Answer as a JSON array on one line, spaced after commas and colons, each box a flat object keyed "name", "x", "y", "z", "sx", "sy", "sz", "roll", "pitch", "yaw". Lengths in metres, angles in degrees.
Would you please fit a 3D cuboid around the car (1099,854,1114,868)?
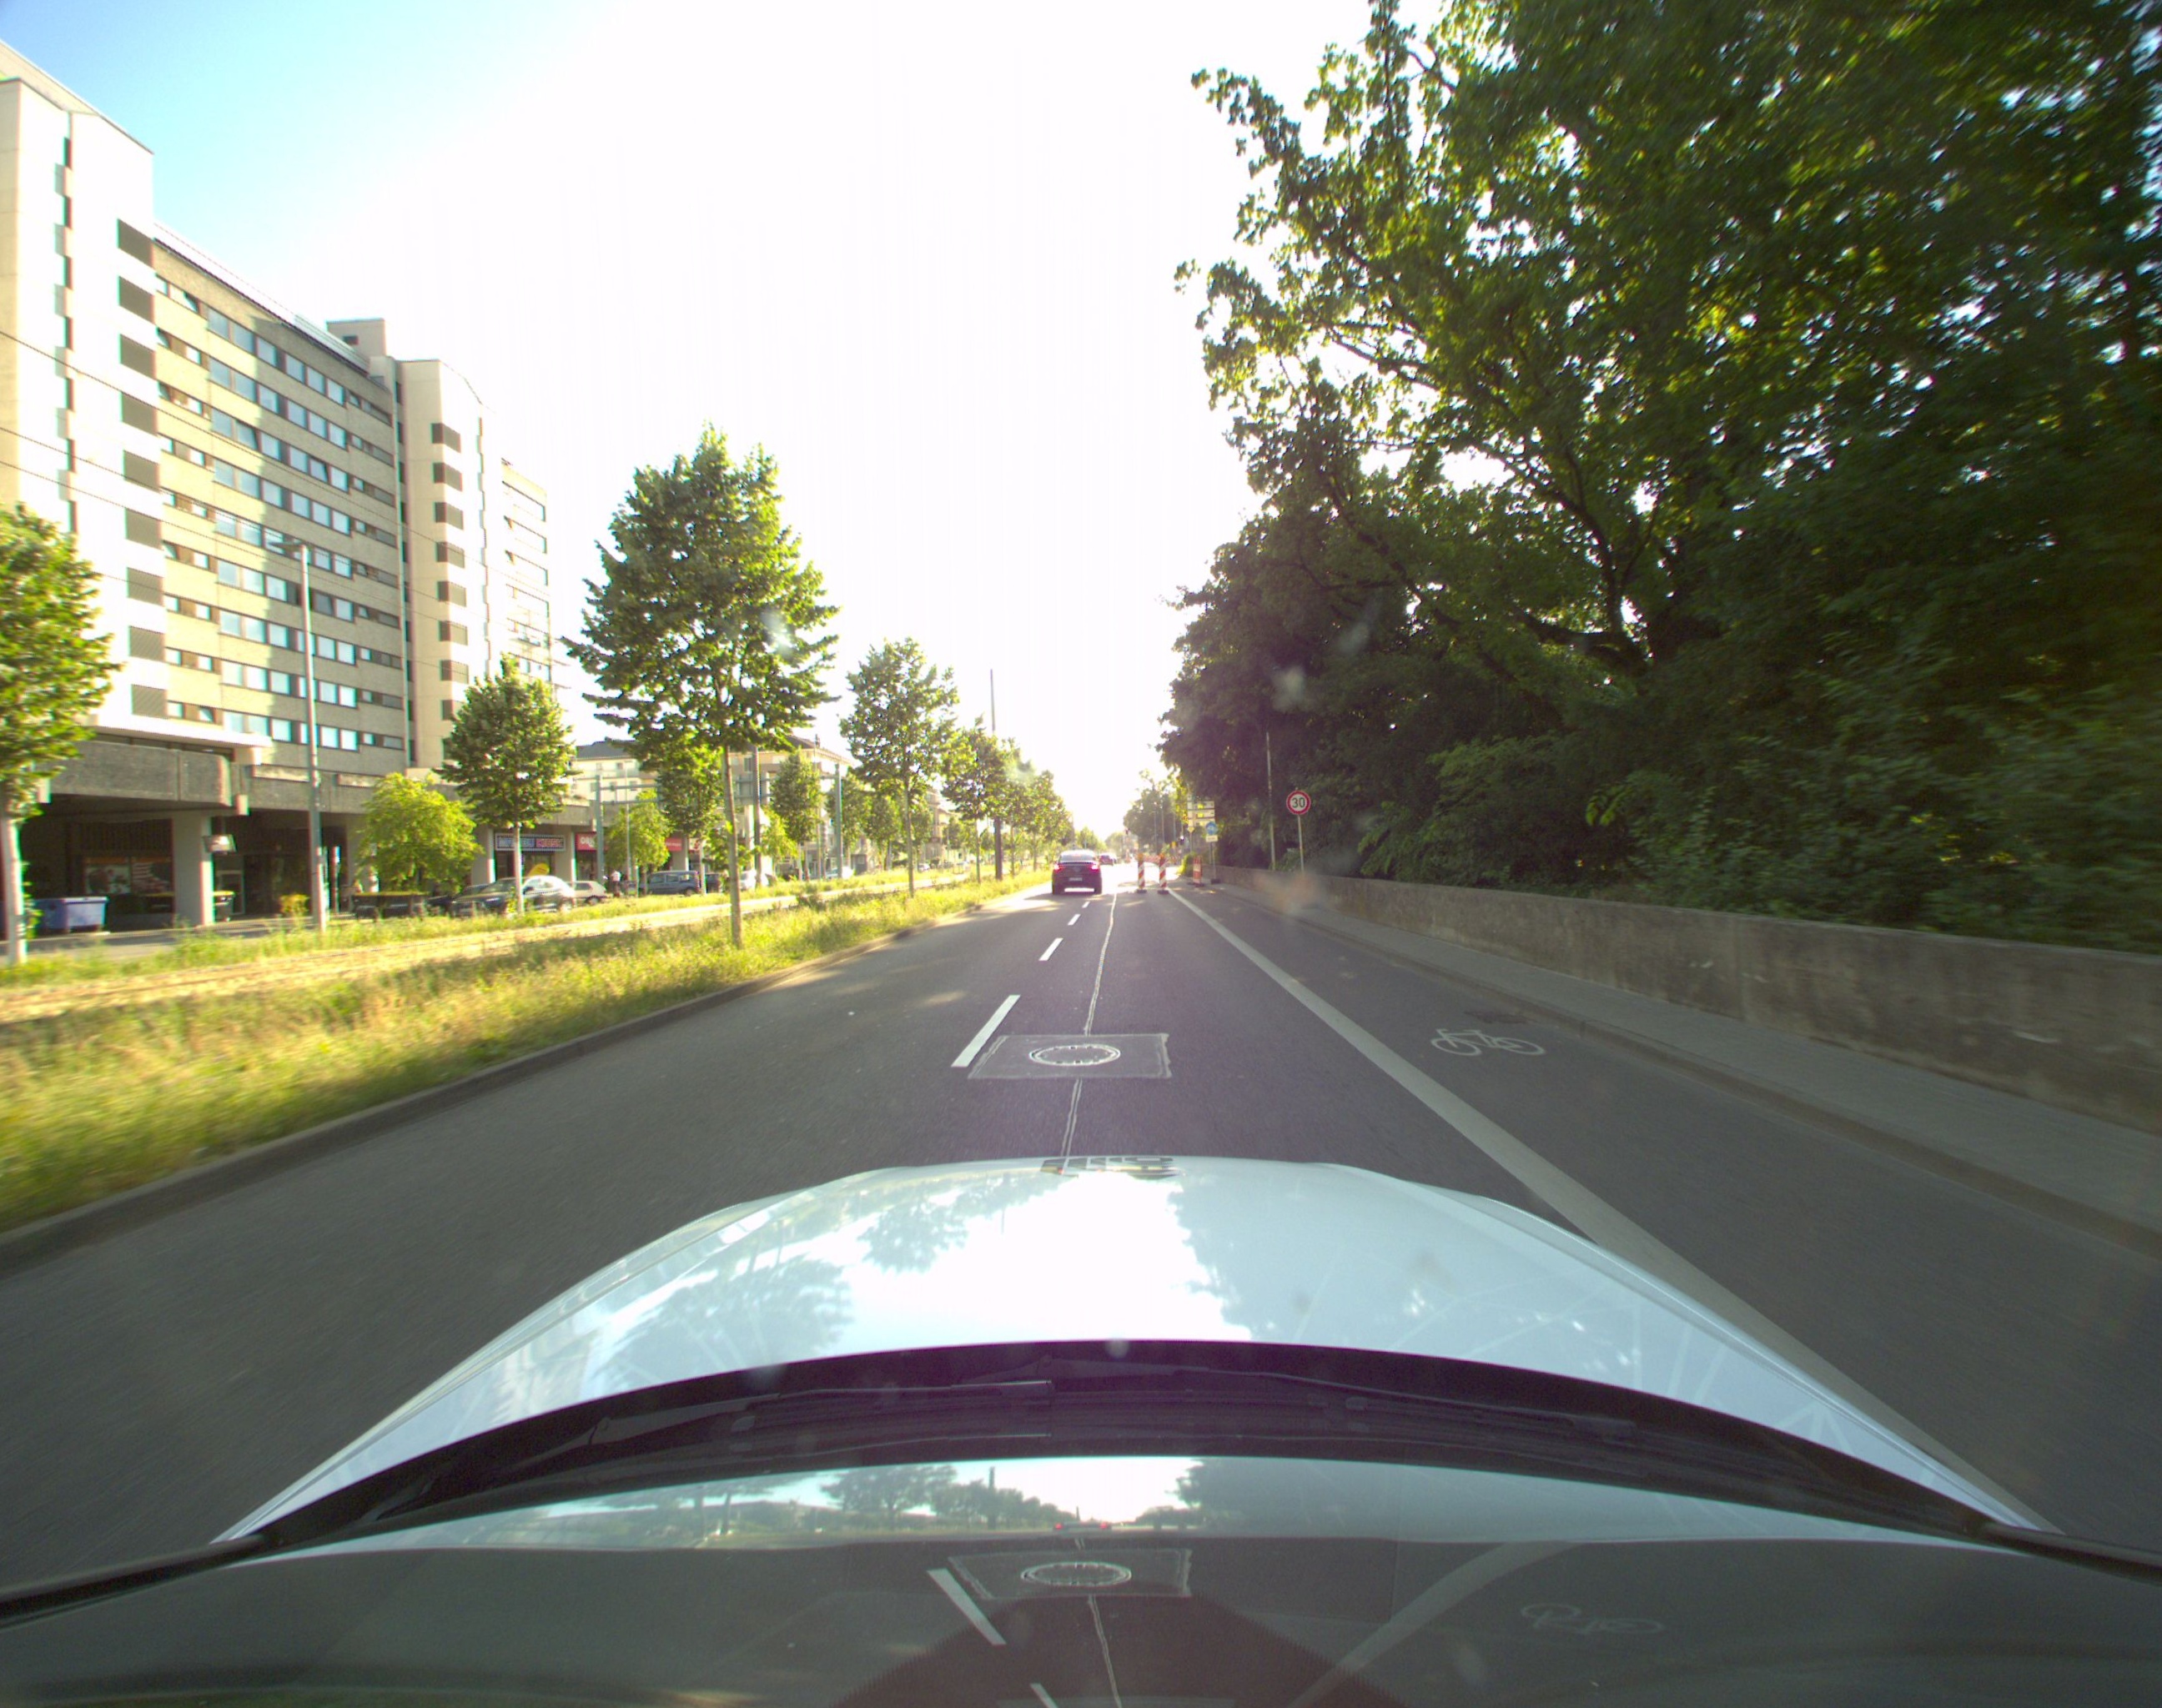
[{"name": "car", "x": 3.186, "y": 0.825, "z": 101.141, "sx": 1.878, "sy": 1.580, "sz": 4.002, "roll": -1, "pitch": 1, "yaw": 2}]

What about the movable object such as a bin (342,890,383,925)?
[{"name": "movable object such as a bin", "x": -29.978, "y": 2.232, "z": 33.993, "sx": 0.851, "sy": 1.357, "sz": 0.944, "roll": -2, "pitch": 0, "yaw": 17}]

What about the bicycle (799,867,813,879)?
[{"name": "bicycle", "x": -24.416, "y": 1.681, "z": 72.311, "sx": 0.604, "sy": 0.963, "sz": 1.717, "roll": -1, "pitch": 0, "yaw": 0}]

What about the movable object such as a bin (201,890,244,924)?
[{"name": "movable object such as a bin", "x": -35.955, "y": 2.215, "z": 34.127, "sx": 0.818, "sy": 1.371, "sz": 0.869, "roll": -2, "pitch": 0, "yaw": 3}]

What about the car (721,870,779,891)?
[{"name": "car", "x": -27.520, "y": 2.189, "z": 67.760, "sx": 4.020, "sy": 1.563, "sz": 1.977, "roll": -1, "pitch": 0, "yaw": -39}]

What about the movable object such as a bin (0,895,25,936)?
[{"name": "movable object such as a bin", "x": -39.847, "y": 2.275, "z": 29.639, "sx": 0.937, "sy": 1.440, "sz": 1.404, "roll": -2, "pitch": 0, "yaw": 3}]

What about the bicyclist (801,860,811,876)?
[{"name": "bicyclist", "x": -24.409, "y": 1.235, "z": 72.356, "sx": 0.590, "sy": 1.355, "sz": 0.759, "roll": -1, "pitch": 0, "yaw": 0}]

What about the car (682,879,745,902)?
[{"name": "car", "x": -28.513, "y": 2.816, "z": 63.193, "sx": 1.975, "sy": 1.574, "sz": 4.024, "roll": -1, "pitch": 0, "yaw": 44}]

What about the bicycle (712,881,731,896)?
[{"name": "bicycle", "x": -25.301, "y": 2.425, "z": 57.350, "sx": 0.542, "sy": 0.993, "sz": 1.711, "roll": -1, "pitch": 0, "yaw": 0}]

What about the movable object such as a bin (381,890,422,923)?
[{"name": "movable object such as a bin", "x": -28.581, "y": 2.208, "z": 34.260, "sx": 0.851, "sy": 1.280, "sz": 0.944, "roll": -2, "pitch": 0, "yaw": 17}]

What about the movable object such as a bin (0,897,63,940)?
[{"name": "movable object such as a bin", "x": -38.496, "y": 2.328, "z": 29.753, "sx": 0.797, "sy": 1.440, "sz": 1.404, "roll": -2, "pitch": 0, "yaw": 3}]

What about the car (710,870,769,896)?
[{"name": "car", "x": -22.292, "y": 1.868, "z": 53.362, "sx": 1.877, "sy": 1.514, "sz": 4.005, "roll": -1, "pitch": 0, "yaw": 4}]

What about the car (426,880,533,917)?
[{"name": "car", "x": -29.187, "y": 2.140, "z": 39.597, "sx": 4.116, "sy": 1.601, "sz": 1.730, "roll": 0, "pitch": 0, "yaw": -38}]

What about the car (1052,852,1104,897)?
[{"name": "car", "x": -0.175, "y": 0.796, "z": 33.719, "sx": 1.988, "sy": 1.734, "sz": 3.997, "roll": -1, "pitch": 0, "yaw": -2}]

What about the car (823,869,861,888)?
[{"name": "car", "x": -21.380, "y": 2.171, "z": 73.032, "sx": 1.877, "sy": 1.514, "sz": 4.005, "roll": -1, "pitch": 0, "yaw": 4}]

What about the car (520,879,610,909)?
[{"name": "car", "x": -29.078, "y": 2.230, "z": 45.960, "sx": 1.764, "sy": 1.453, "sz": 4.024, "roll": -1, "pitch": 0, "yaw": 45}]

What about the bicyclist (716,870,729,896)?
[{"name": "bicyclist", "x": -25.314, "y": 2.016, "z": 57.489, "sx": 0.538, "sy": 1.788, "sz": 0.858, "roll": -1, "pitch": 0, "yaw": 0}]

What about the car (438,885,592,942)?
[{"name": "car", "x": -20.953, "y": 2.149, "z": 30.486, "sx": 1.877, "sy": 1.689, "sz": 5.095, "roll": -1, "pitch": 0, "yaw": 5}]

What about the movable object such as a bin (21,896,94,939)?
[{"name": "movable object such as a bin", "x": -37.348, "y": 2.308, "z": 29.736, "sx": 0.797, "sy": 1.440, "sz": 1.404, "roll": -2, "pitch": 0, "yaw": 3}]

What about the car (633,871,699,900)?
[{"name": "car", "x": -28.572, "y": 2.133, "z": 56.123, "sx": 3.776, "sy": 1.829, "sz": 1.804, "roll": -1, "pitch": 0, "yaw": -37}]

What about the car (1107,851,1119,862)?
[{"name": "car", "x": 4.911, "y": 0.441, "z": 124.945, "sx": 1.760, "sy": 1.604, "sz": 3.774, "roll": -2, "pitch": 0, "yaw": 2}]

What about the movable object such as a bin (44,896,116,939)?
[{"name": "movable object such as a bin", "x": -36.479, "y": 2.293, "z": 29.700, "sx": 0.797, "sy": 1.440, "sz": 1.404, "roll": -2, "pitch": 0, "yaw": 3}]
